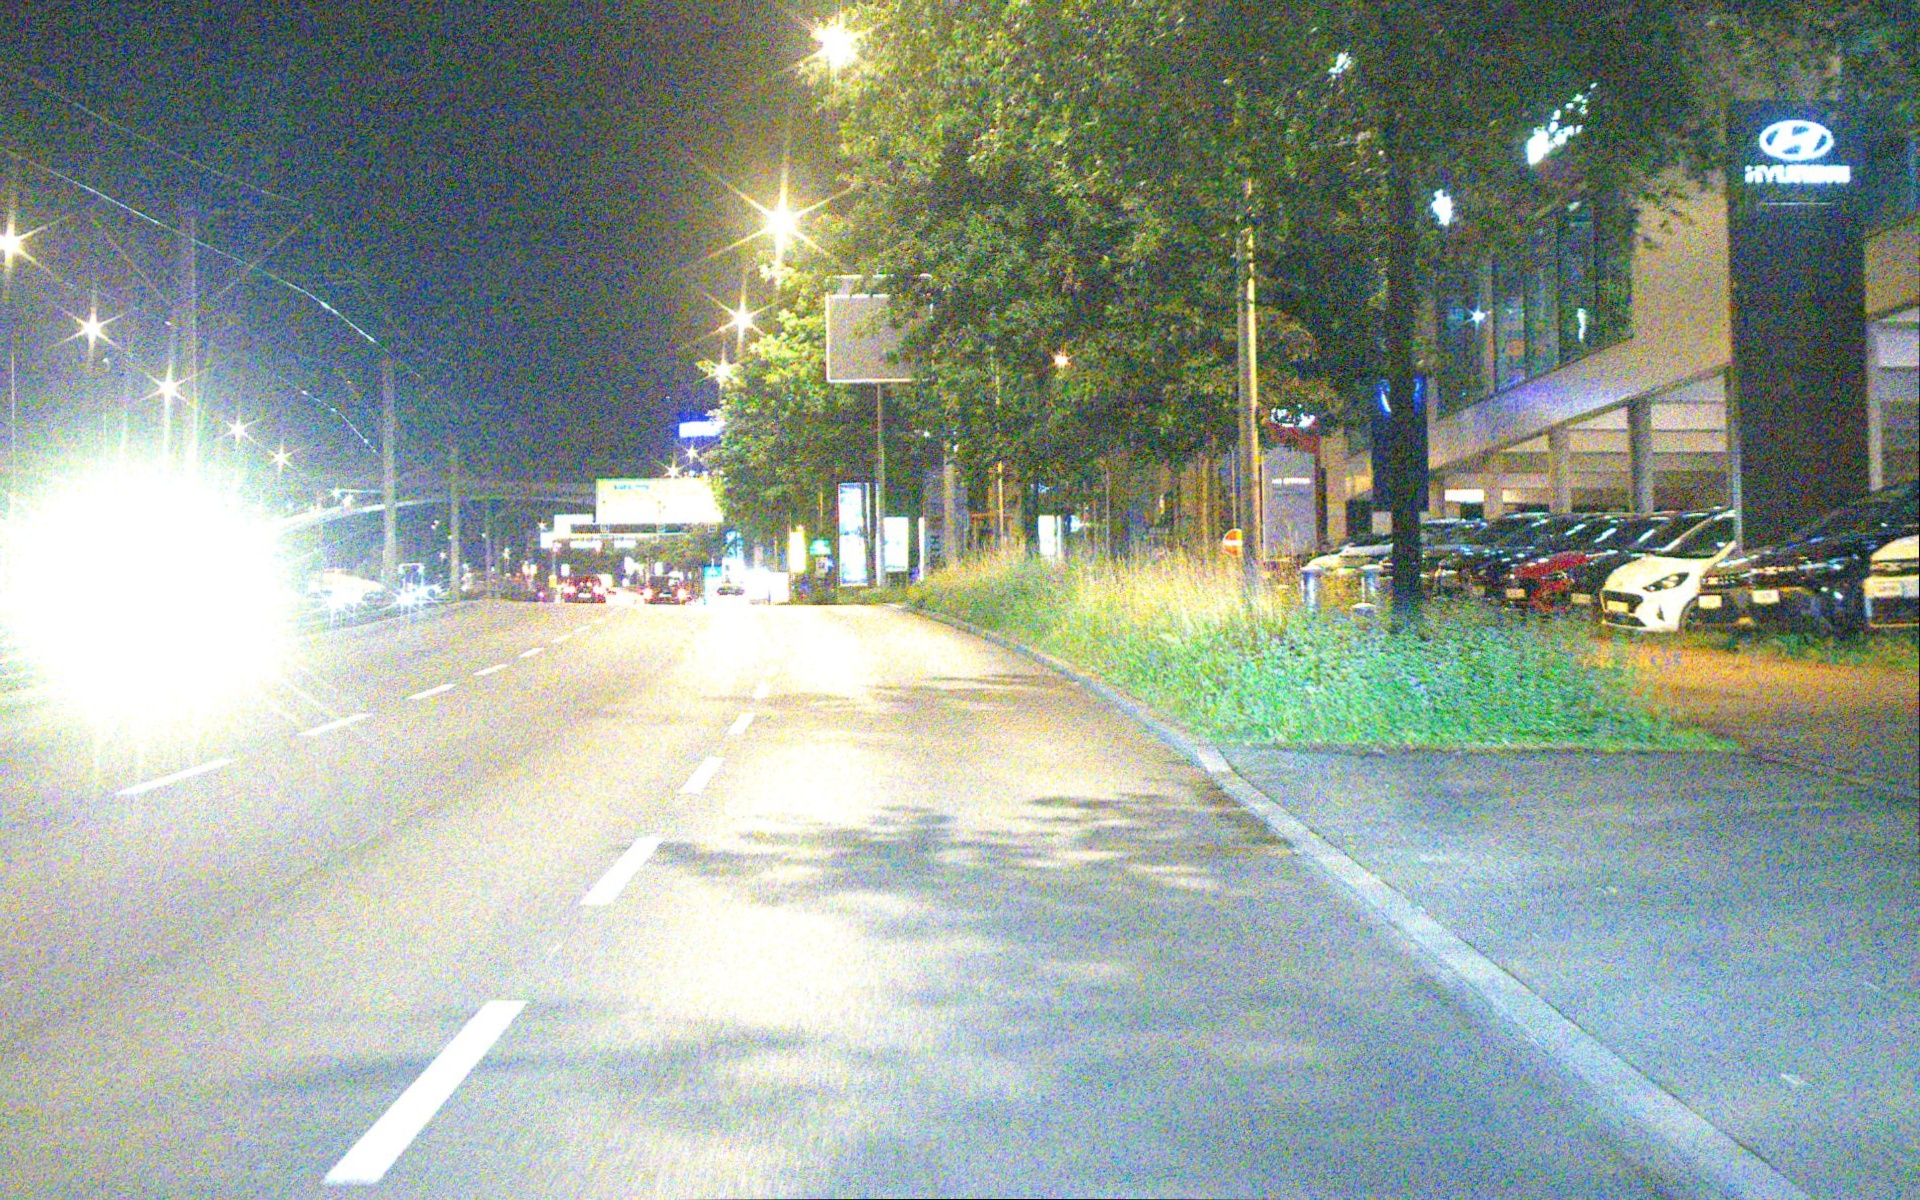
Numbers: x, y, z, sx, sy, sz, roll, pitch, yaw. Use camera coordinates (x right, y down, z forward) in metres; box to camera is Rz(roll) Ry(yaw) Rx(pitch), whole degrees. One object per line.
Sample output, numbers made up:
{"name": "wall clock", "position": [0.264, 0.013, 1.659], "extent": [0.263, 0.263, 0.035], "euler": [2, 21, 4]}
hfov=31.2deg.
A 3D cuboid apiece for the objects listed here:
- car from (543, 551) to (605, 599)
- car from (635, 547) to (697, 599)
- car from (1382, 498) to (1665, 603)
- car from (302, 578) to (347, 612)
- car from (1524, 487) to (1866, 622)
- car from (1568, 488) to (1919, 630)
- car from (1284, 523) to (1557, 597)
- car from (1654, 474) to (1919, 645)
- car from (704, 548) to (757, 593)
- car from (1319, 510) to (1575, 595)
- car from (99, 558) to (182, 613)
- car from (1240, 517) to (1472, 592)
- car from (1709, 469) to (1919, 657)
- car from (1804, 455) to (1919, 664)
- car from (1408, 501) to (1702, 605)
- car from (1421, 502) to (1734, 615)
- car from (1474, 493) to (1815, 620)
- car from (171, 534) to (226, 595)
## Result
{"name": "car", "position": [-16.234, -1.059, 144.884], "extent": [2.262, 2.007, 4.826], "euler": [0, 0, -3]}
{"name": "car", "position": [-12.196, -1.119, 142.789], "extent": [2.356, 2.122, 4.826], "euler": [0, 0, -3]}
{"name": "car", "position": [8.929, -0.794, 54.508], "extent": [3.986, 1.465, 1.833], "euler": [-3, 1, -21]}
{"name": "car", "position": [-32.233, -0.265, 174.482], "extent": [1.993, 1.589, 4.001], "euler": [-2, 1, -7]}
{"name": "car", "position": [9.269, -0.581, 43.414], "extent": [3.766, 1.374, 1.717], "euler": [-5, 2, -15]}
{"name": "car", "position": [9.393, -0.501, 40.960], "extent": [3.801, 1.448, 1.718], "euler": [-4, 2, -16]}
{"name": "car", "position": [8.384, -0.745, 62.531], "extent": [4.628, 1.260, 1.948], "euler": [-1, 2, -27]}
{"name": "car", "position": [9.711, -0.514, 35.707], "extent": [4.459, 1.542, 1.770], "euler": [-5, 1, -11]}
{"name": "car", "position": [-10.961, -1.396, 164.292], "extent": [2.427, 2.106, 4.826], "euler": [0, 0, -3]}
{"name": "car", "position": [8.476, -0.841, 59.857], "extent": [3.986, 1.419, 1.910], "euler": [-1, 2, -20]}
{"name": "car", "position": [-26.019, -0.472, 109.221], "extent": [1.779, 1.707, 4.227], "euler": [0, 0, -2]}
{"name": "car", "position": [7.764, -0.879, 67.527], "extent": [4.120, 1.415, 1.877], "euler": [0, 0, -16]}
{"name": "car", "position": [9.366, -0.454, 32.219], "extent": [4.079, 1.563, 1.855], "euler": [-5, 2, -12]}
{"name": "car", "position": [9.805, -0.520, 29.487], "extent": [4.459, 1.681, 2.001], "euler": [-5, 2, -12]}
{"name": "car", "position": [8.945, -0.732, 51.718], "extent": [3.986, 1.387, 1.827], "euler": [-3, 3, -24]}
{"name": "car", "position": [8.855, -0.607, 49.395], "extent": [3.986, 1.376, 1.809], "euler": [-3, 2, -13]}
{"name": "car", "position": [9.154, -0.591, 46.061], "extent": [4.022, 1.369, 1.826], "euler": [-5, 2, -18]}
{"name": "car", "position": [-36.083, -1.653, 162.746], "extent": [2.145, 2.662, 6.964], "euler": [-3, 0, -15]}
